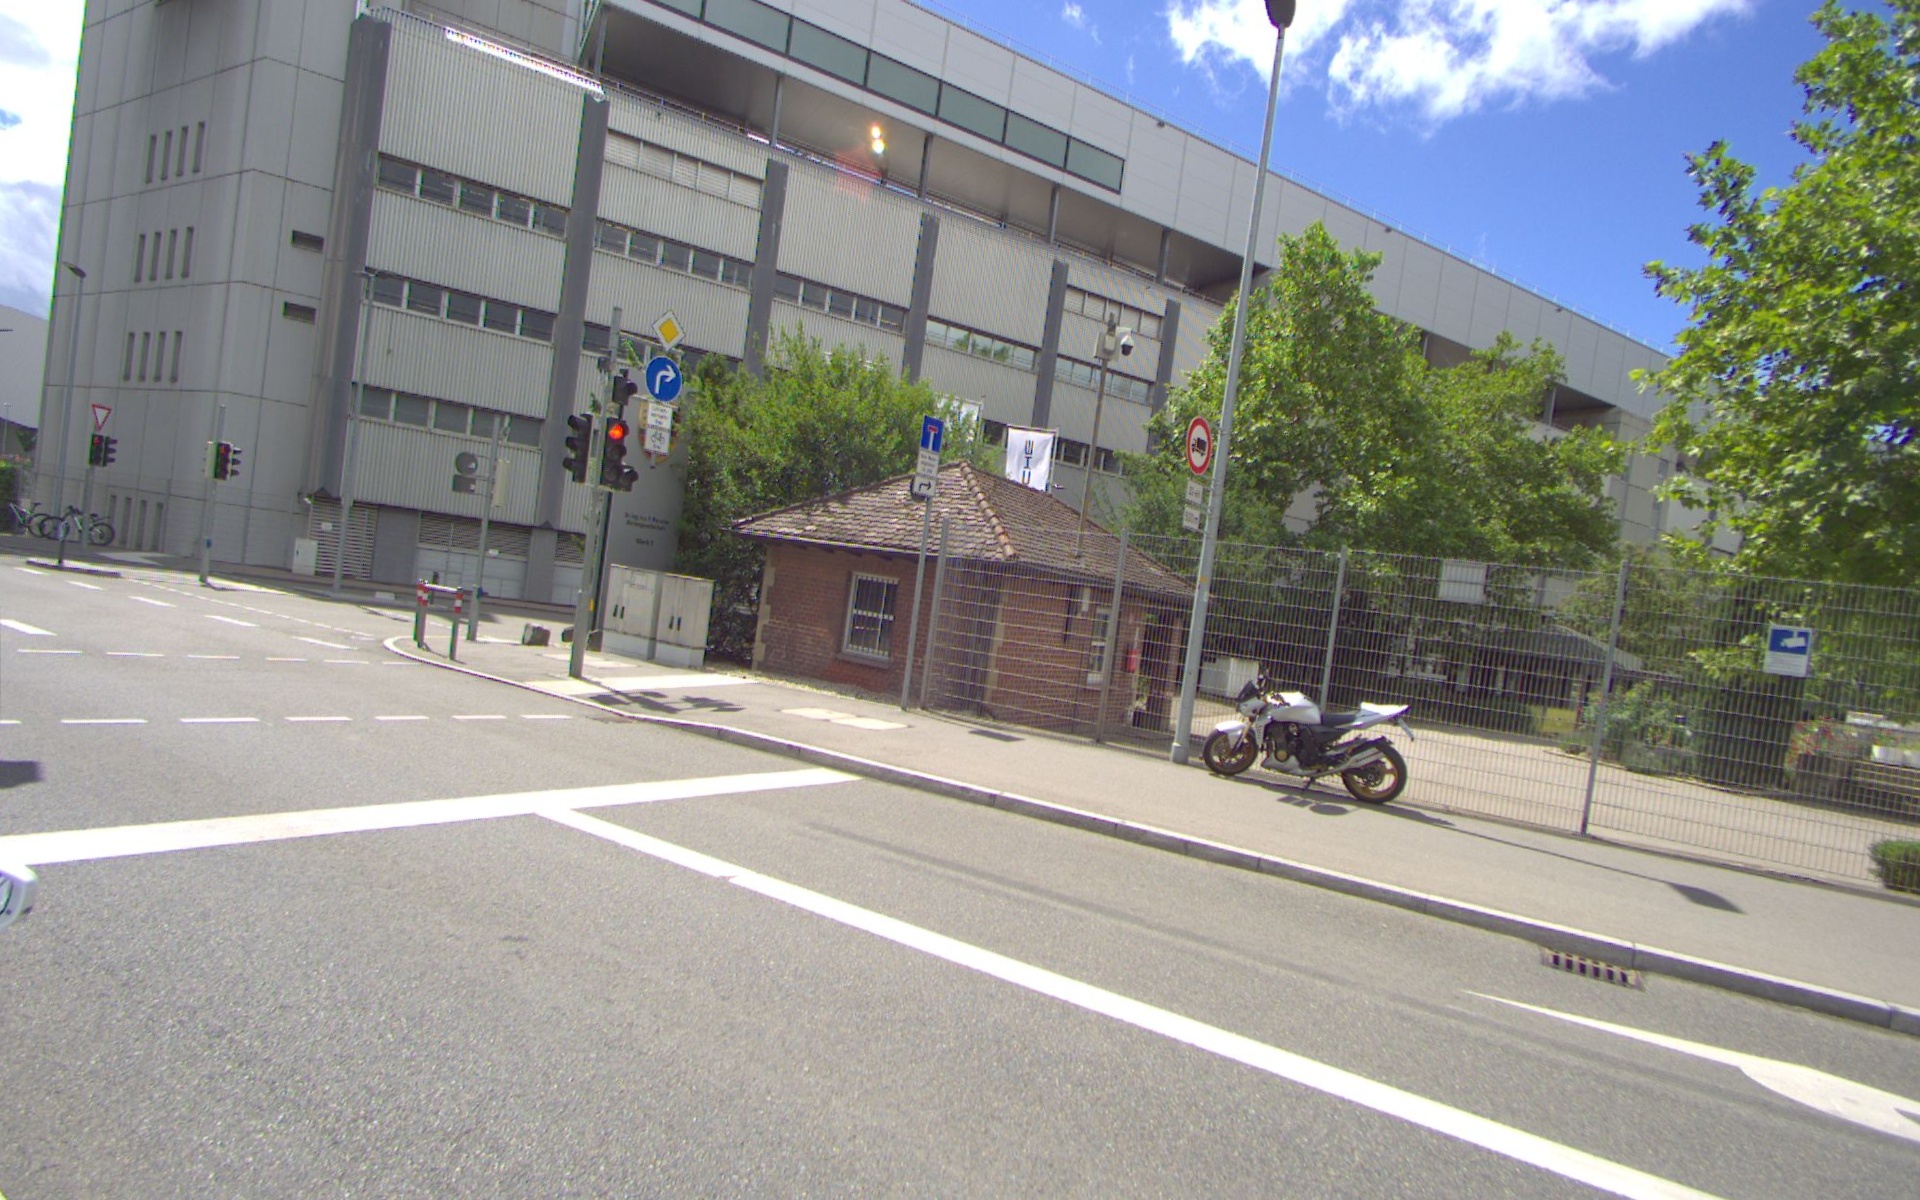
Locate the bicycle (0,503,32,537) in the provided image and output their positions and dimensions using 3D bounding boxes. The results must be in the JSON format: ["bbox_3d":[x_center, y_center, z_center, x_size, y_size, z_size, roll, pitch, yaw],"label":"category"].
[{"bbox_3d":[-29.678,-2.530,31.073,1.891,0.948,0.399,7,0,13],"label":"bicycle"}]

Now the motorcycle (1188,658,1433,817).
[{"bbox_3d":[3.454,1.305,9.987,2.110,1.173,0.693,7,2,27],"label":"motorcycle"}]

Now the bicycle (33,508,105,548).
[{"bbox_3d":[-27.253,-2.196,30.758,1.892,0.948,0.399,7,0,6],"label":"bicycle"}]

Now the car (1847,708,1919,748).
[{"bbox_3d":[53.053,7.282,56.784,1.979,1.803,3.971,8,-2,-30],"label":"car"}]
